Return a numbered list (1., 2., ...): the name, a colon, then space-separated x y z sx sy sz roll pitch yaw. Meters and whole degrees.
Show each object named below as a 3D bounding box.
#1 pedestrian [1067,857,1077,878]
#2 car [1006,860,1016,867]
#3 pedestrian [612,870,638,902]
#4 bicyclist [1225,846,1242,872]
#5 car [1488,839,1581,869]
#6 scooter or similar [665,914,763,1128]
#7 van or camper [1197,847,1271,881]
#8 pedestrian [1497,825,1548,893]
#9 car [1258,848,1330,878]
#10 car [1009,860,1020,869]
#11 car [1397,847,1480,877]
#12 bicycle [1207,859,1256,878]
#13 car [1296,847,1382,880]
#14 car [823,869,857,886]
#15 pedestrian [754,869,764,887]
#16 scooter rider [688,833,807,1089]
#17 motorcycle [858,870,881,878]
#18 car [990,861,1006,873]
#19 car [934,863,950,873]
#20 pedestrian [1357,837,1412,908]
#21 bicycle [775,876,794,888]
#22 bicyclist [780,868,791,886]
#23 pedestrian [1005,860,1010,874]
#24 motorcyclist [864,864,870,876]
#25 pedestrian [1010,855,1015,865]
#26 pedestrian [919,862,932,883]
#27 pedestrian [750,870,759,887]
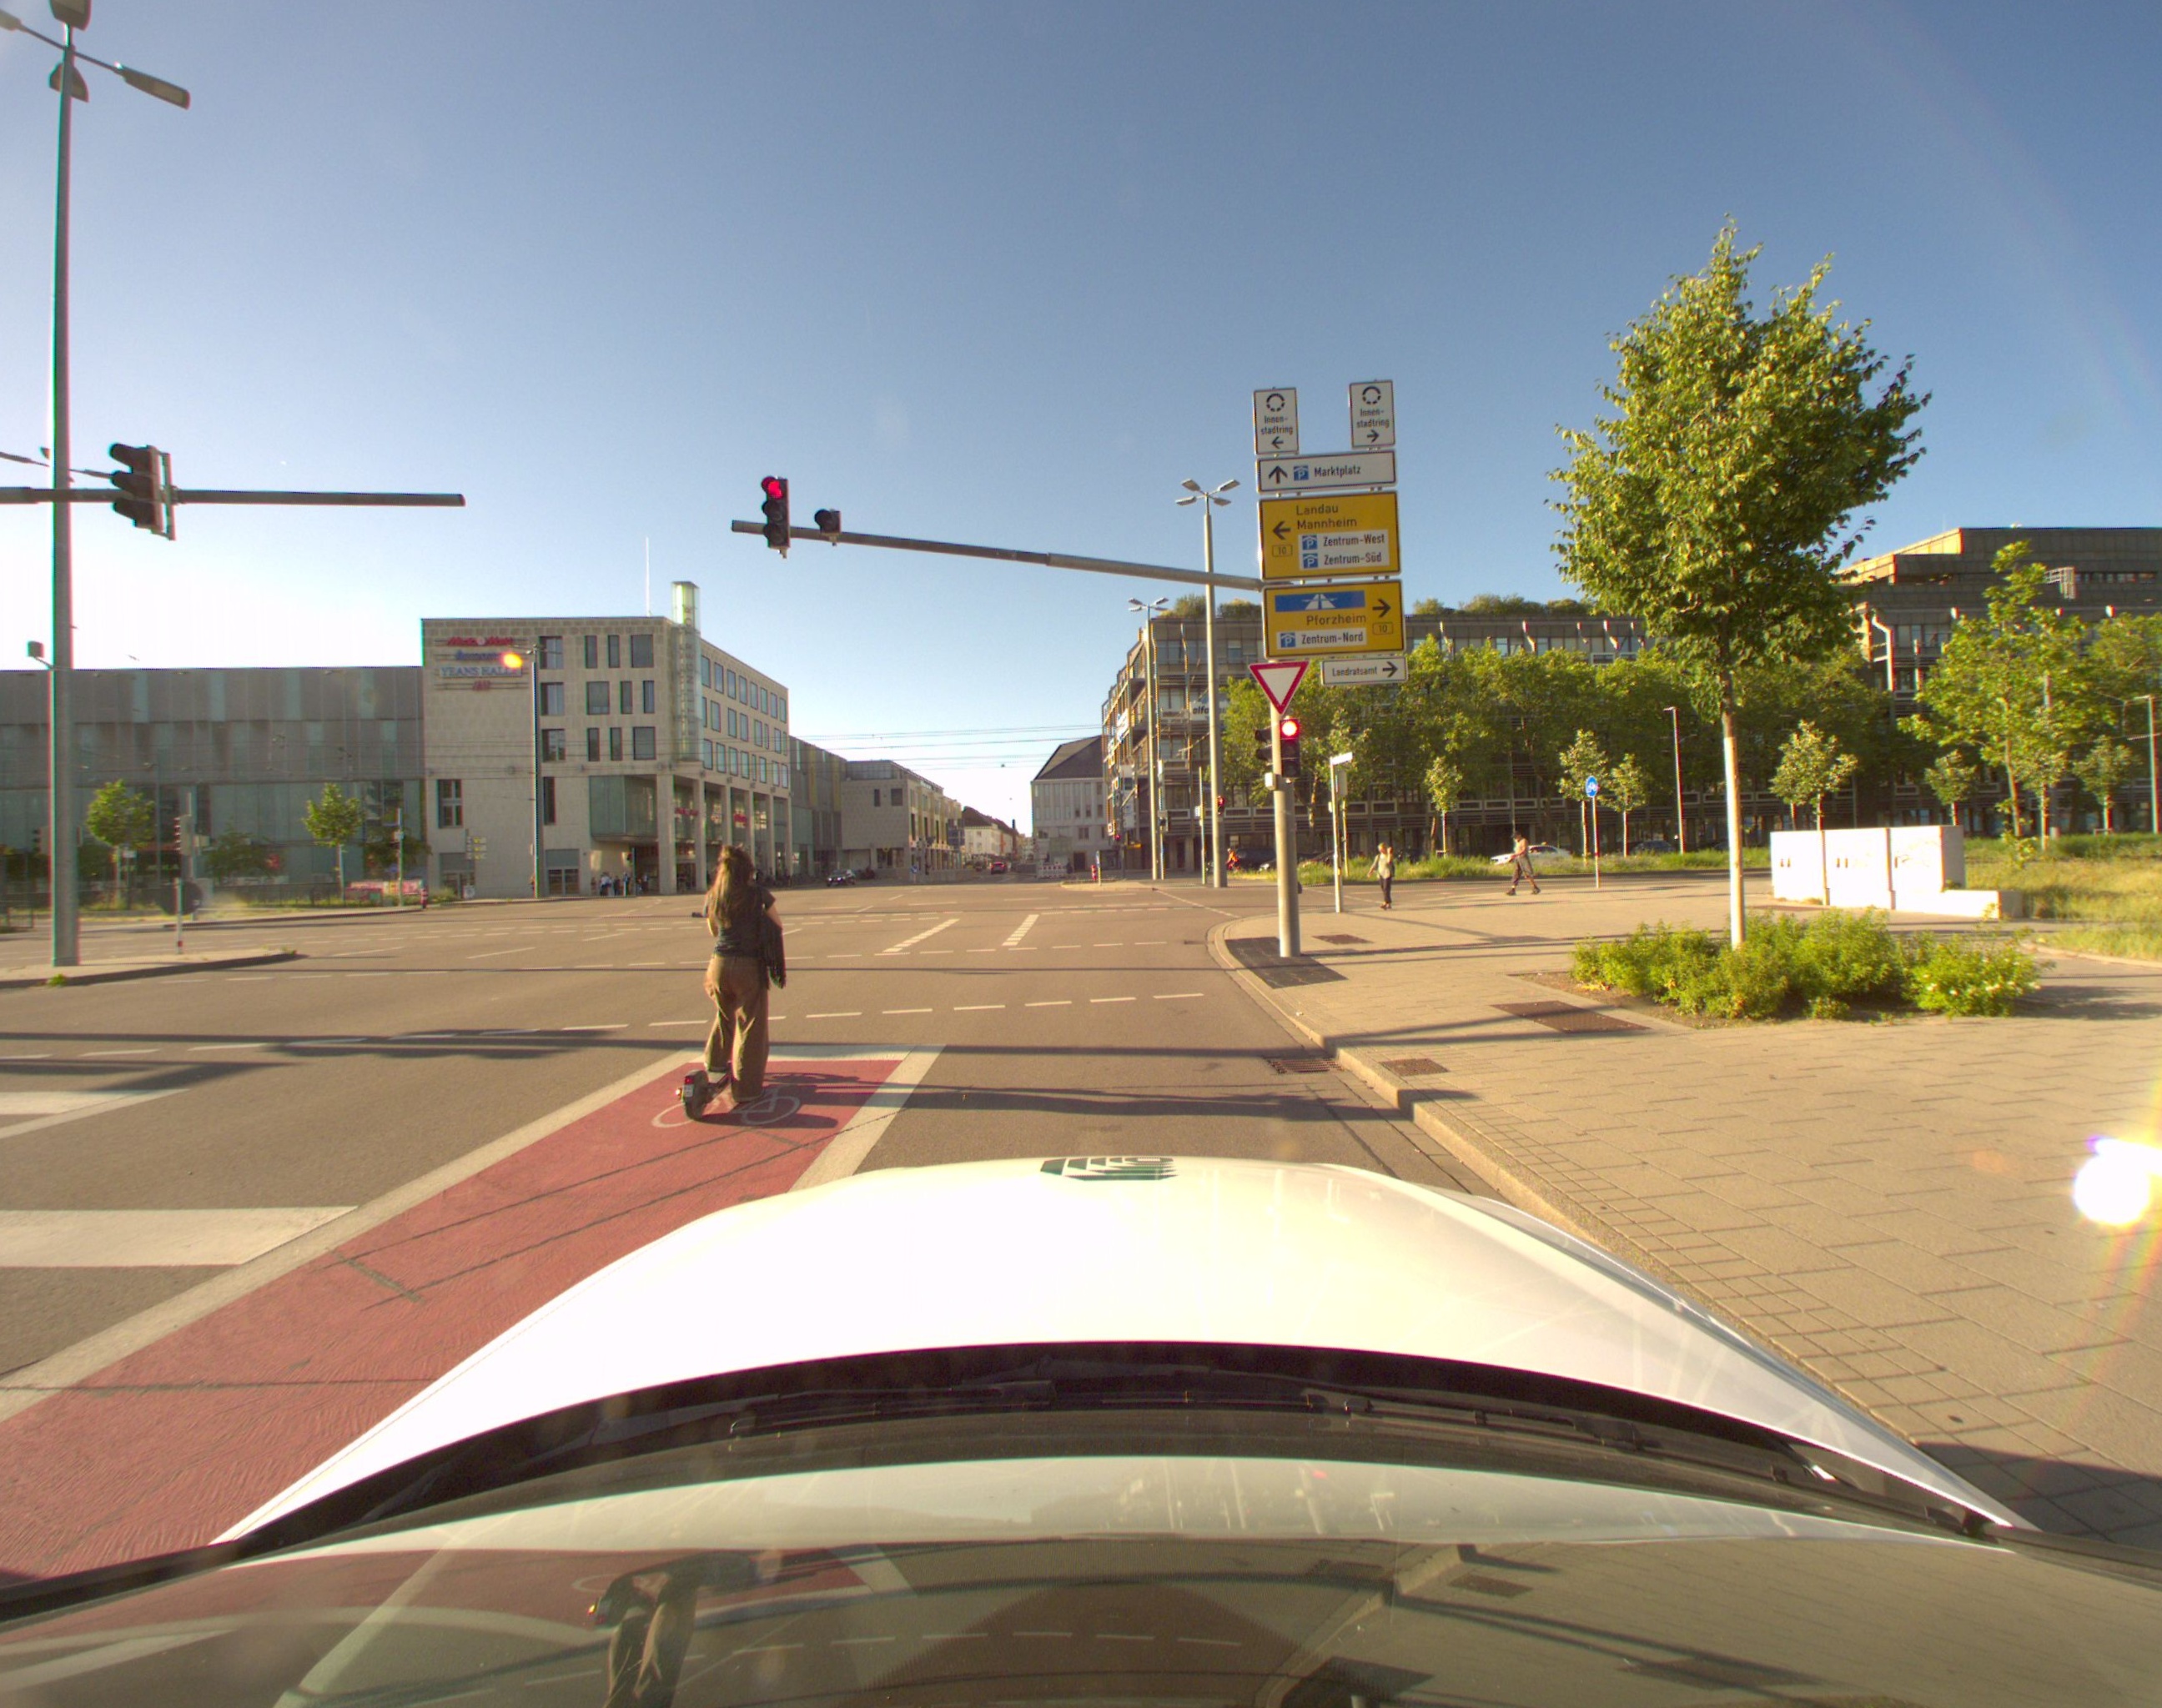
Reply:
1. pedestrian: -0.721 1.058 64.668 0.697 1.688 0.620 -2 0 2
2. car: -14.342 1.915 166.724 1.652 1.458 3.543 -2 0 2
3. pedestrian: -25.142 1.766 44.916 0.821 1.675 1.004 -2 0 -2
4. bicyclist: 8.828 0.310 47.077 0.820 1.474 0.652 -2 0 -2
5. car: 28.665 -0.022 51.566 4.831 1.684 1.824 -2 0 -2
6. scooter or similar: -2.194 0.953 4.929 0.306 1.107 0.835 -2 0 -9
7. van or camper: 10.042 0.641 53.570 4.404 2.013 1.993 -2 0 -3
8. pedestrian: 11.546 0.131 21.338 0.869 1.706 0.768 -2 0 0
9. car: 13.172 0.538 50.462 3.973 1.684 1.761 -2 0 0
10. car: -11.919 1.833 146.386 1.652 1.458 3.543 -2 0 2
11. car: 22.488 0.493 51.315 4.392 1.684 1.824 -2 0 -2
12. bicycle: 8.681 0.823 47.060 2.561 0.975 1.047 -2 0 -1
13. car: 14.633 0.529 46.235 4.287 1.684 1.820 -2 0 -9
14. car: -20.799 2.008 70.514 1.670 1.357 4.021 -2 0 1
15. pedestrian: -29.726 2.200 75.269 0.590 1.646 0.629 -2 0 1
16. scooter rider: -2.104 0.646 5.187 0.552 1.530 0.448 -2 0 -7
17. motorcycle: -25.703 2.451 98.940 2.600 0.993 1.113 0 -1 -8
18. car: -11.016 1.753 108.534 1.652 1.458 3.543 -2 0 2
19. car: -20.995 2.083 122.909 1.652 1.458 3.543 -2 0 2
20. pedestrian: 7.167 0.418 19.252 0.875 1.614 0.762 -2 0 -23
21. bicycle: -25.069 2.349 68.884 0.633 0.903 2.220 -2 0 3
22. bicyclist: -25.082 1.957 69.097 0.623 1.448 0.589 -2 0 3
23. pedestrian: -8.976 1.577 99.471 0.490 1.664 0.529 0 -1 -12
24. motorcyclist: -26.026 1.941 99.189 0.627 1.406 0.661 0 -1 -7
25. pedestrian: -13.900 1.193 165.268 0.907 1.965 0.823 0 -1 1
26. pedestrian: -12.266 1.453 64.314 0.772 1.638 0.627 -2 0 7
27. pedestrian: -32.787 2.472 81.736 0.465 1.729 0.699 -1 -1 40
